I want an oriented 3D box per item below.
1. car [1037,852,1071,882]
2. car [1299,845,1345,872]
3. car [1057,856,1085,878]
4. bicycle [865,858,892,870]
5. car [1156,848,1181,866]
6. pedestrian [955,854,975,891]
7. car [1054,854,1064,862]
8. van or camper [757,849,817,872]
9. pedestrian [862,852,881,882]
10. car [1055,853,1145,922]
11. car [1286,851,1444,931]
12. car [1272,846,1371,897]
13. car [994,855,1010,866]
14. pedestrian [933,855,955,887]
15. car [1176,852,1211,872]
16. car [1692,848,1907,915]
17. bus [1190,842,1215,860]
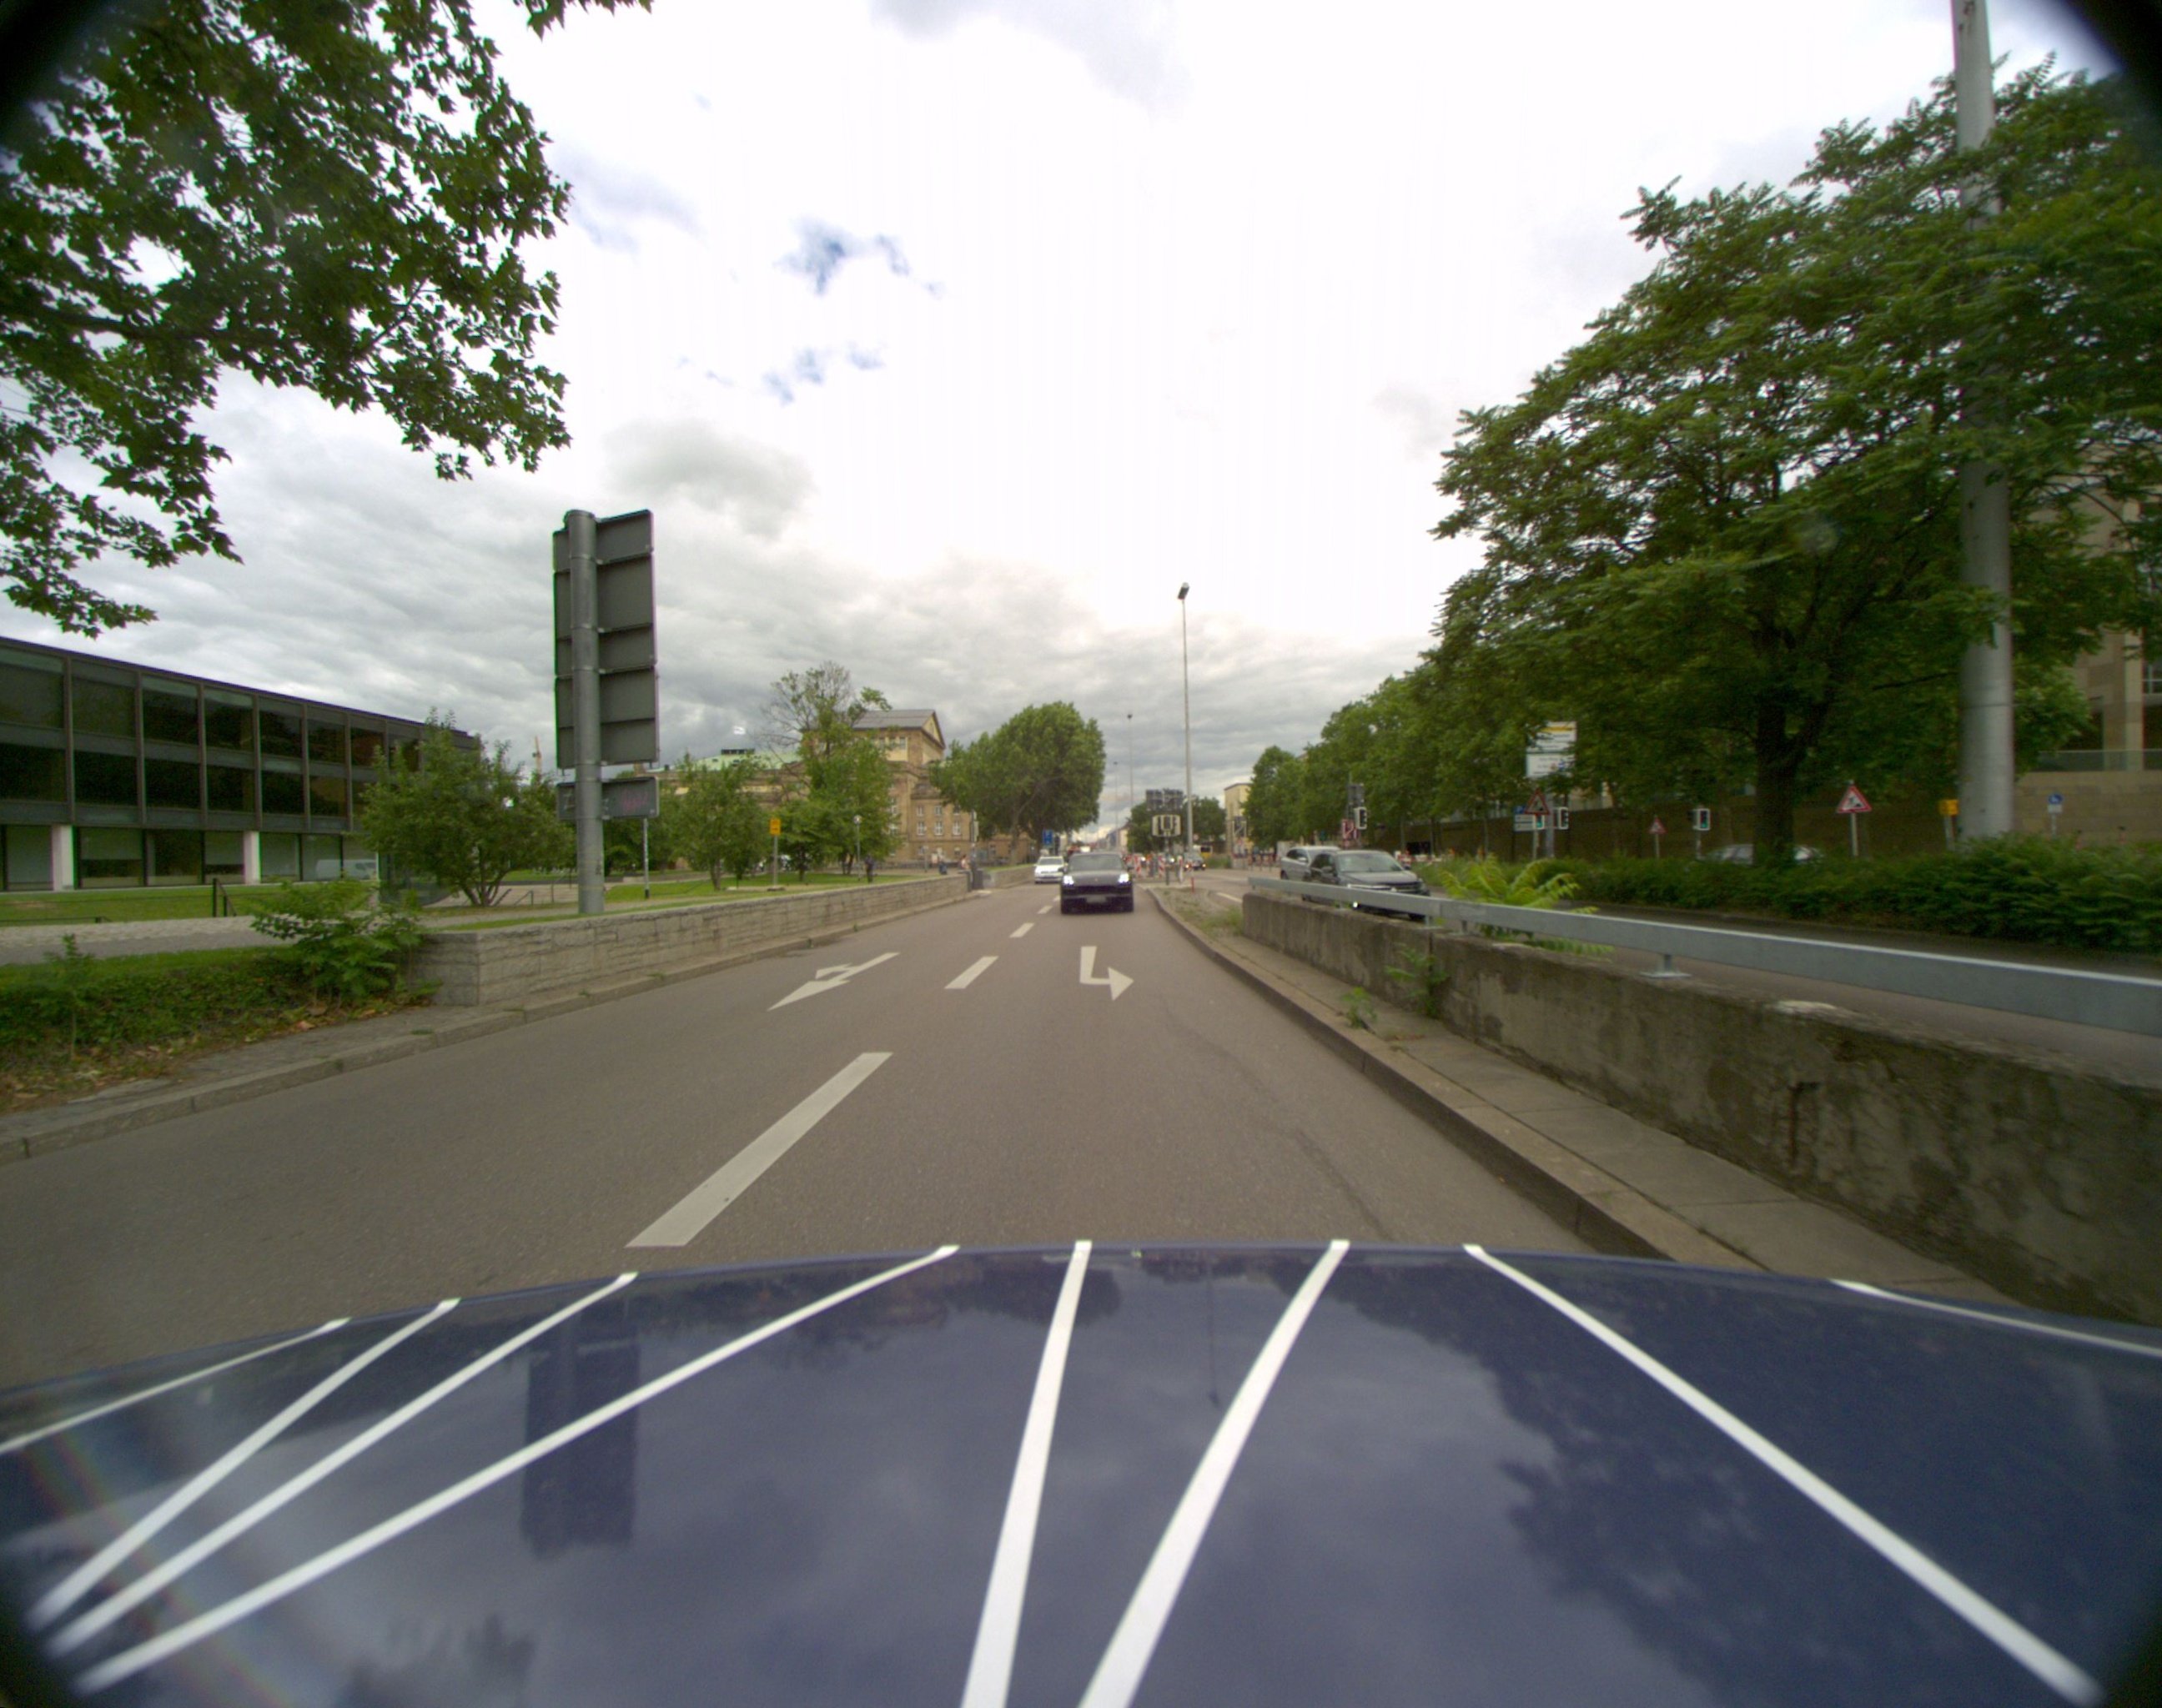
[{"bbox_3d":[-1.581,0.771,45.778,1.695,1.585,4.000,-3,1,2],"label":"car"},{"bbox_3d":[16.530,0.265,52.280,1.760,1.647,3.999,-4,1,-2],"label":"car"},{"bbox_3d":[-0.906,1.069,64.046,2.062,1.616,4.600,-3,0,-4],"label":"car"},{"bbox_3d":[-18.485,0.913,69.350,2.197,1.135,0.686,-1,0,1],"label":"bicycle"},{"bbox_3d":[8.883,0.287,77.097,1.999,1.636,4.000,-2,0,0],"label":"car"},{"bbox_3d":[-5.396,0.860,35.310,0.699,1.646,0.684,-4,1,0],"label":"pedestrian"},{"bbox_3d":[-4.617,0.826,161.968,1.843,1.522,4.000,-2,1,2],"label":"car"},{"bbox_3d":[-32.676,0.693,84.622,5.711,2.307,2.319,-2,2,0],"label":"van or camper"},{"bbox_3d":[-11.336,0.694,41.087,0.803,1.617,0.626,-1,0,8],"label":"pedestrian"},{"bbox_3d":[0.381,0.820,20.923,2.062,1.616,4.600,-2,0,-3],"label":"car"},{"bbox_3d":[6.268,0.731,17.331,1.768,1.507,4.150,-3,1,-4],"label":"car"},{"bbox_3d":[8.464,0.557,27.255,1.998,1.607,4.737,-2,1,0],"label":"car"},{"bbox_3d":[-12.082,1.039,116.636,1.768,1.508,4.219,-1,-1,2],"label":"car"},{"bbox_3d":[-6.652,0.830,37.036,0.683,1.553,0.909,0,0,18],"label":"pedestrian"},{"bbox_3d":[8.987,0.600,60.937,1.999,1.474,4.808,-2,0,-1],"label":"car"},{"bbox_3d":[18.642,0.644,20.012,1.760,1.453,3.999,-4,1,-2],"label":"car"},{"bbox_3d":[24.091,-0.571,151.172,2.920,3.286,10.448,-1,0,-1],"label":"bus"}]
